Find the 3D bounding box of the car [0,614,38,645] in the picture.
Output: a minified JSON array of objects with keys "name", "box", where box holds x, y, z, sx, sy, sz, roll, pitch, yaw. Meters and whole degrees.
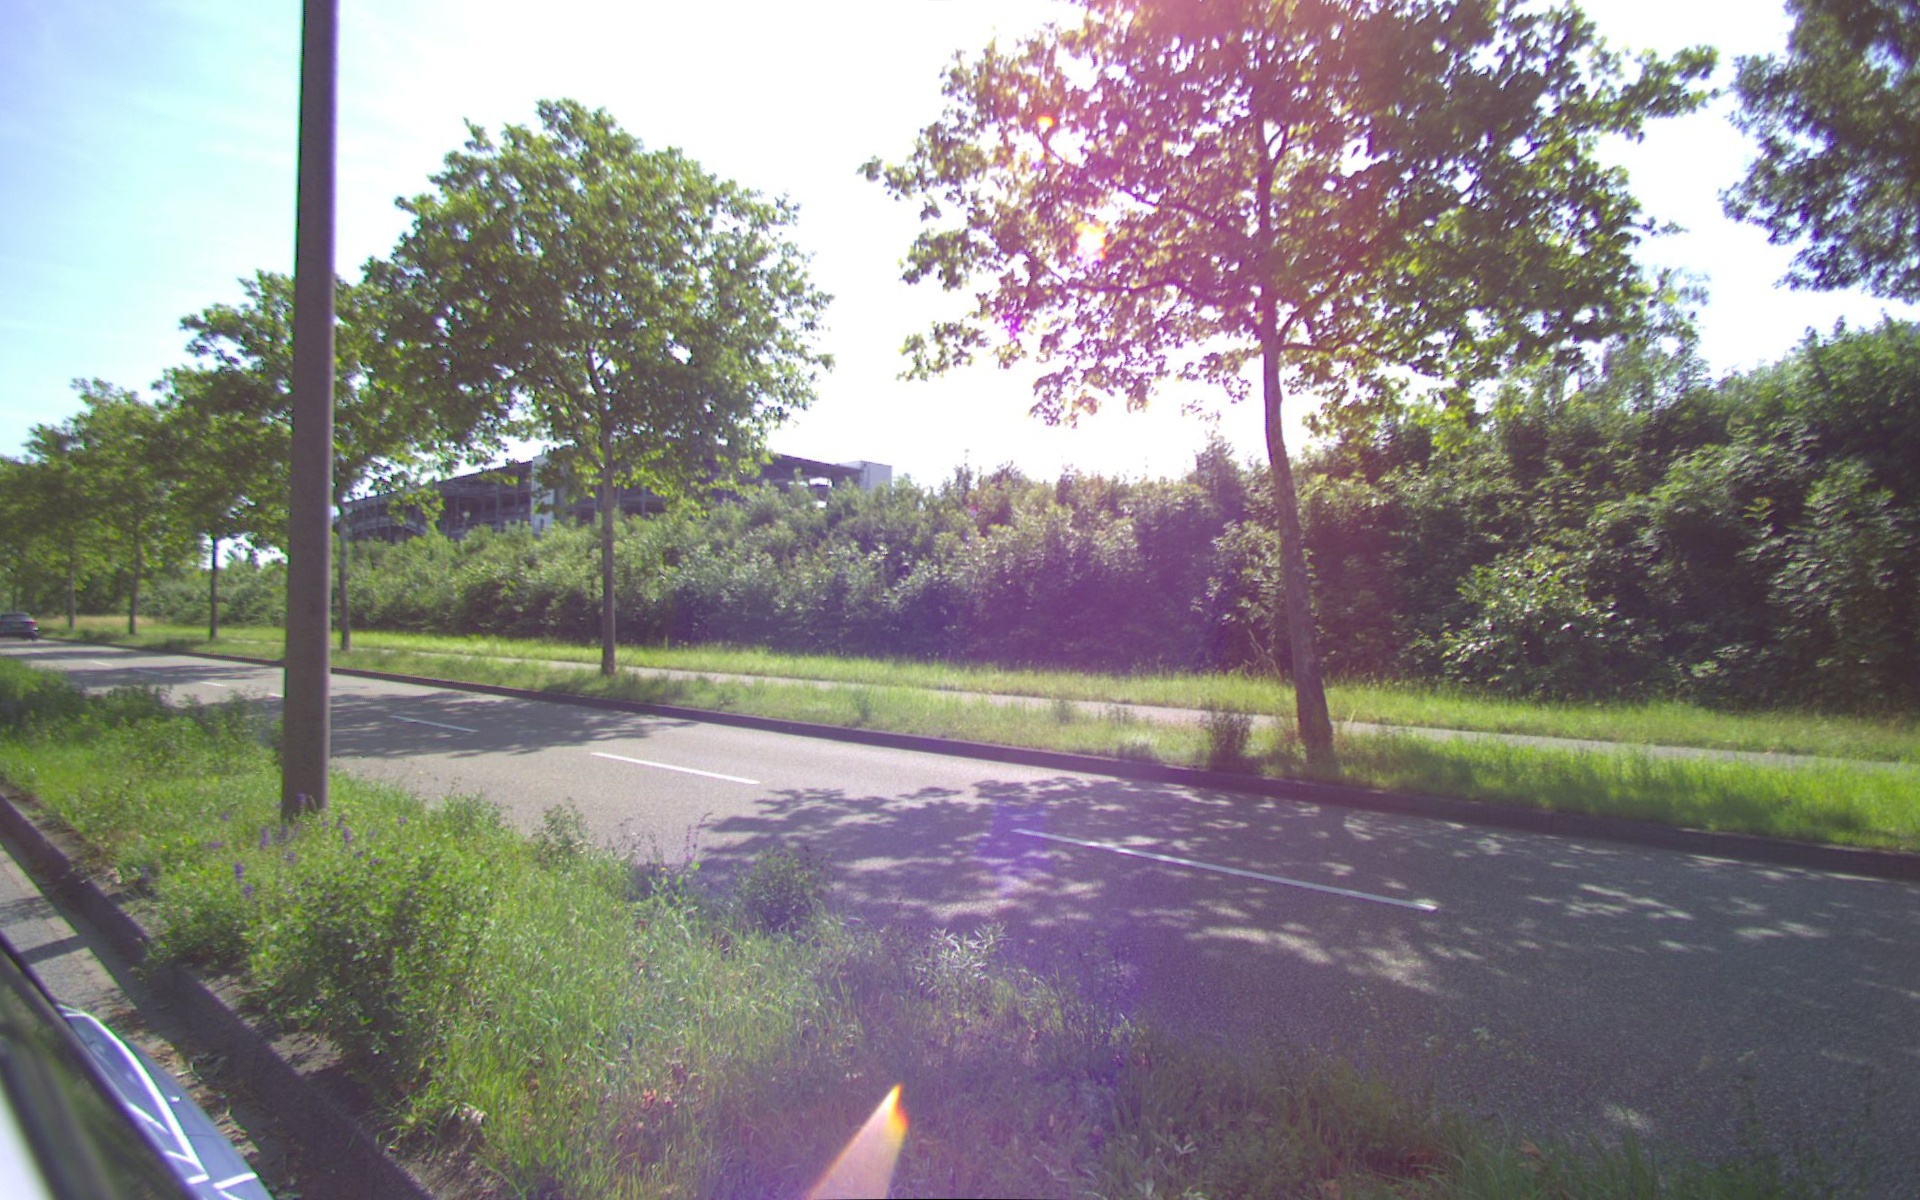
[{"name":"car","box":[-49.199,1.494,52.238,3.935,1.478,1.844,0,-1,40]}]
